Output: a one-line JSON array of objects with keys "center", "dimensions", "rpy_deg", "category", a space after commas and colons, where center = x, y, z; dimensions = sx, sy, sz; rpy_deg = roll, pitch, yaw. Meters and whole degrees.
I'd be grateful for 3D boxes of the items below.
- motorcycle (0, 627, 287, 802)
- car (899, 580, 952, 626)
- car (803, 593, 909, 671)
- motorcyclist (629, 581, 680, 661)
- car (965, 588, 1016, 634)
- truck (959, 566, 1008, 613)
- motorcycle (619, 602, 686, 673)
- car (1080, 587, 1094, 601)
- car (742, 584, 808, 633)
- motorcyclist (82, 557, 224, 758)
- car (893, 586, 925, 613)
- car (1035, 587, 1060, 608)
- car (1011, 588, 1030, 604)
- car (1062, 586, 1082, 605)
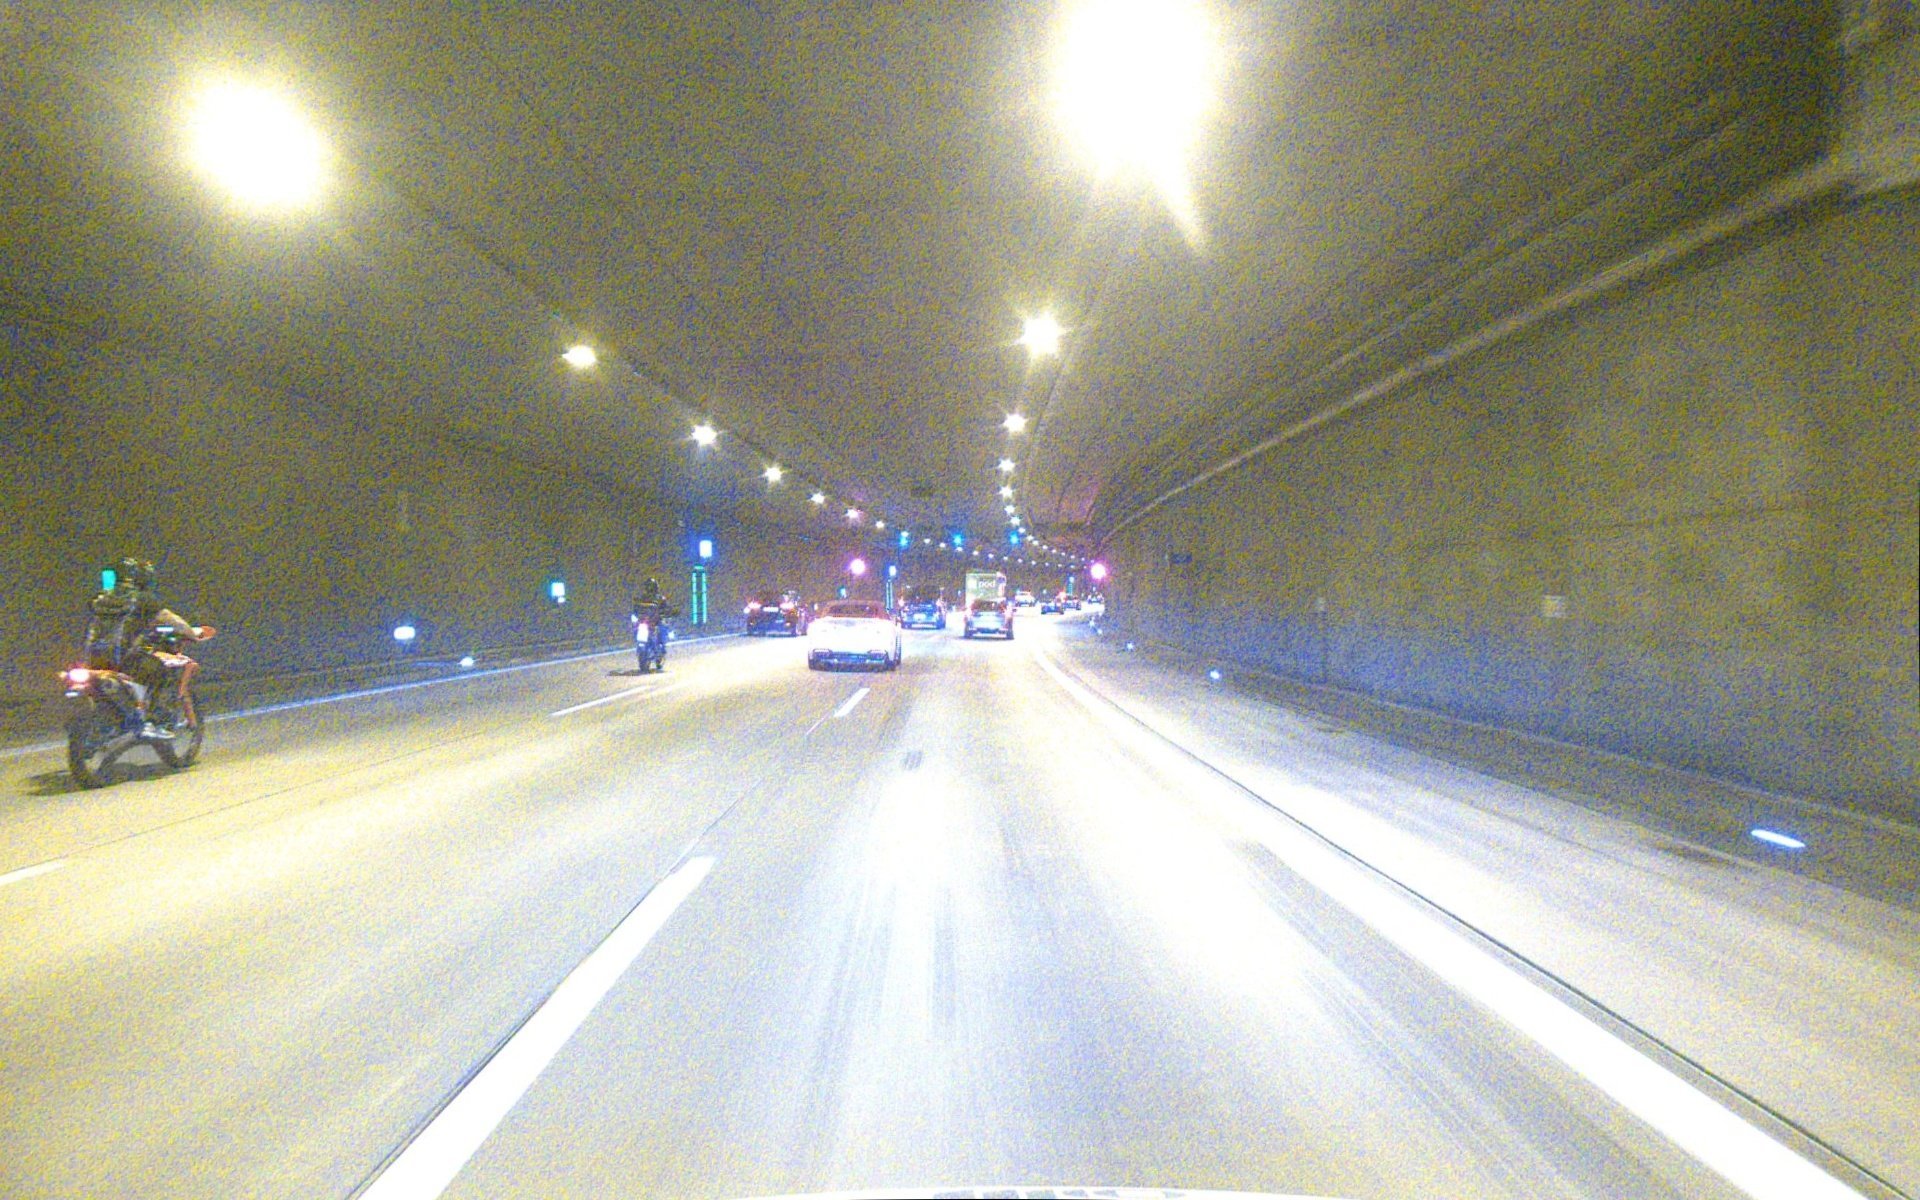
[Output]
[{"center": [-6.310, 0.825, 12.861], "dimensions": [1.031, 1.177, 2.429], "rpy_deg": [0, 0, 4], "category": "motorcycle"}, {"center": [-1.542, 0.122, 74.668], "dimensions": [1.951, 2.006, 4.003], "rpy_deg": [-1, 0, 5], "category": "car"}, {"center": [-2.103, 0.617, 34.426], "dimensions": [1.953, 1.509, 4.000], "rpy_deg": [-1, 0, 0], "category": "car"}, {"center": [-5.858, 0.393, 31.761], "dimensions": [0.822, 1.503, 0.821], "rpy_deg": [1, 0, -1], "category": "motorcyclist"}, {"center": [1.086, 0.398, 60.755], "dimensions": [1.802, 1.630, 4.000], "rpy_deg": [0, 0, 0], "category": "car"}, {"center": [1.800, -0.839, 121.320], "dimensions": [3.018, 3.167, 10.035], "rpy_deg": [-3, 1, 4], "category": "truck"}, {"center": [-5.817, 0.683, 31.442], "dimensions": [0.828, 1.267, 2.604], "rpy_deg": [0, 0, -1], "category": "motorcycle"}, {"center": [16.415, -0.789, 213.810], "dimensions": [1.795, 1.720, 4.002], "rpy_deg": [-2, 0, 4], "category": "car"}, {"center": [-6.428, 0.277, 57.866], "dimensions": [1.748, 1.626, 3.802], "rpy_deg": [0, 0, 2], "category": "car"}, {"center": [-6.327, 0.434, 13.009], "dimensions": [0.614, 1.515, 0.891], "rpy_deg": [-1, 0, 4], "category": "motorcyclist"}, {"center": [-3.312, -0.019, 108.948], "dimensions": [1.763, 1.713, 4.002], "rpy_deg": [1, 0, 3], "category": "car"}, {"center": [7.027, -0.237, 132.733], "dimensions": [1.806, 1.595, 4.000], "rpy_deg": [-2, 0, 1], "category": "car"}, {"center": [6.593, -0.448, 180.676], "dimensions": [1.792, 1.646, 4.003], "rpy_deg": [-2, 0, 5], "category": "car"}, {"center": [10.882, -0.435, 160.881], "dimensions": [1.819, 1.695, 4.003], "rpy_deg": [-2, 0, 5], "category": "car"}]
